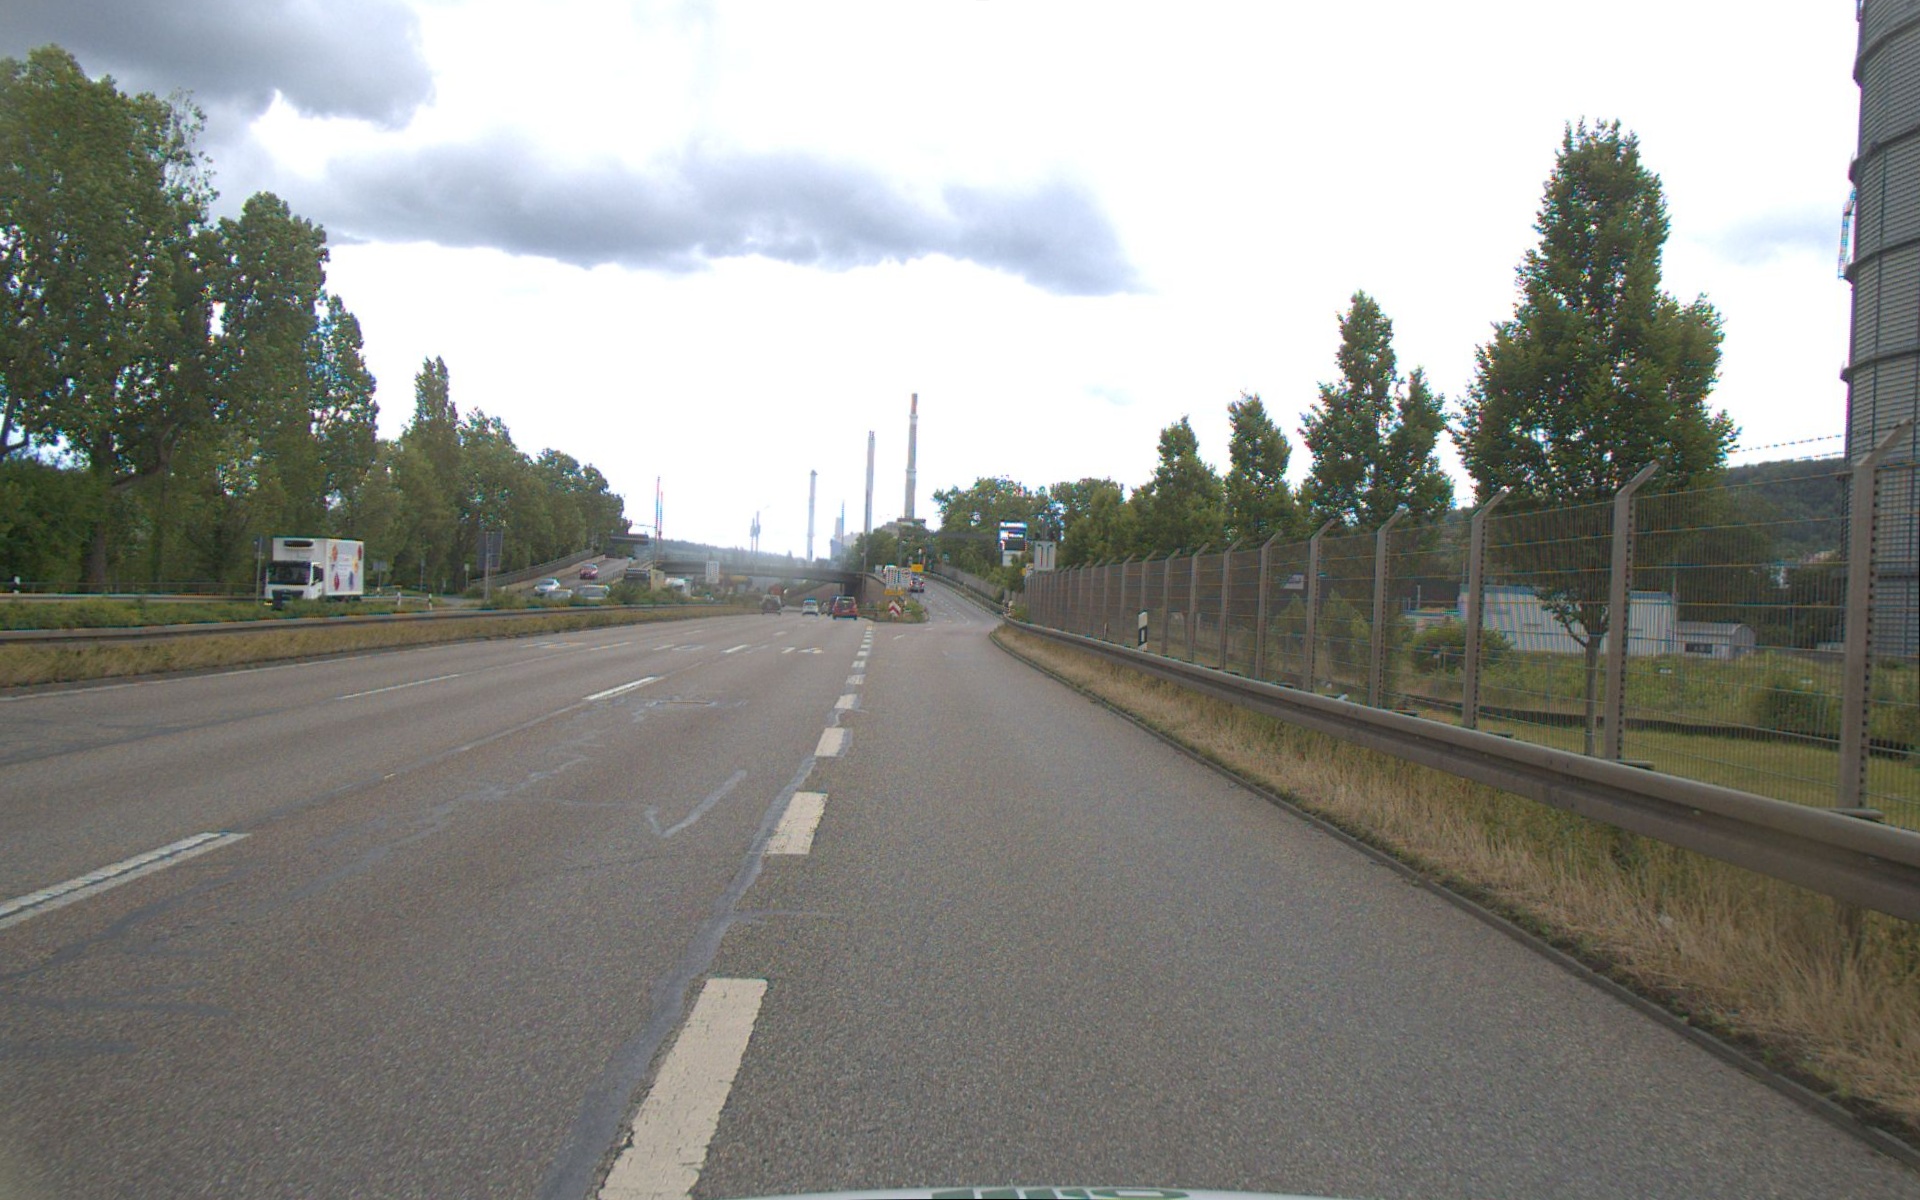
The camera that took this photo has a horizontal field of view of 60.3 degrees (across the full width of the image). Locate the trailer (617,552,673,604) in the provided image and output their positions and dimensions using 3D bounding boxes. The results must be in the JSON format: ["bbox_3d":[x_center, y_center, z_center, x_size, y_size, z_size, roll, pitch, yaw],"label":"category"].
[{"bbox_3d":[-30.964,-2.047,163.056,3.395,4.754,14.770,2,0,-4],"label":"trailer"}]

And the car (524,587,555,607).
[{"bbox_3d":[-38.355,-0.301,150.845,1.955,1.673,4.598,4,0,-6],"label":"car"}]

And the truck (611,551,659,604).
[{"bbox_3d":[-30.468,-2.081,155.187,3.395,4.754,6.206,2,-1,-4],"label":"truck"}]

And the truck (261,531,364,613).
[{"bbox_3d":[-31.779,-1.338,81.475,2.926,3.707,6.329,4,0,-6],"label":"truck"}]

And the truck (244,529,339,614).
[{"bbox_3d":[-31.401,-1.330,77.822,2.927,3.706,3.995,4,0,-6],"label":"truck"}]

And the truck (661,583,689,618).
[{"bbox_3d":[-34.925,0.105,202.661,2.735,4.006,5.306,3,-1,-5],"label":"truck"}]

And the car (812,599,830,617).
[{"bbox_3d":[-17.376,0.952,206.795,1.882,2.048,3.994,3,0,-7],"label":"car"}]

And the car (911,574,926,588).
[{"bbox_3d":[-4.938,-2.225,197.134,1.714,1.608,4.085,0,0,0],"label":"car"}]

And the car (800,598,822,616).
[{"bbox_3d":[-15.237,0.711,169.027,1.954,1.713,3.998,3,0,-3],"label":"car"}]

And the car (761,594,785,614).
[{"bbox_3d":[-18.224,0.377,161.199,1.954,1.713,3.998,3,0,-3],"label":"car"}]

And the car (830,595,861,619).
[{"bbox_3d":[-7.845,0.460,113.474,1.955,1.444,3.996,3,0,-6],"label":"car"}]
